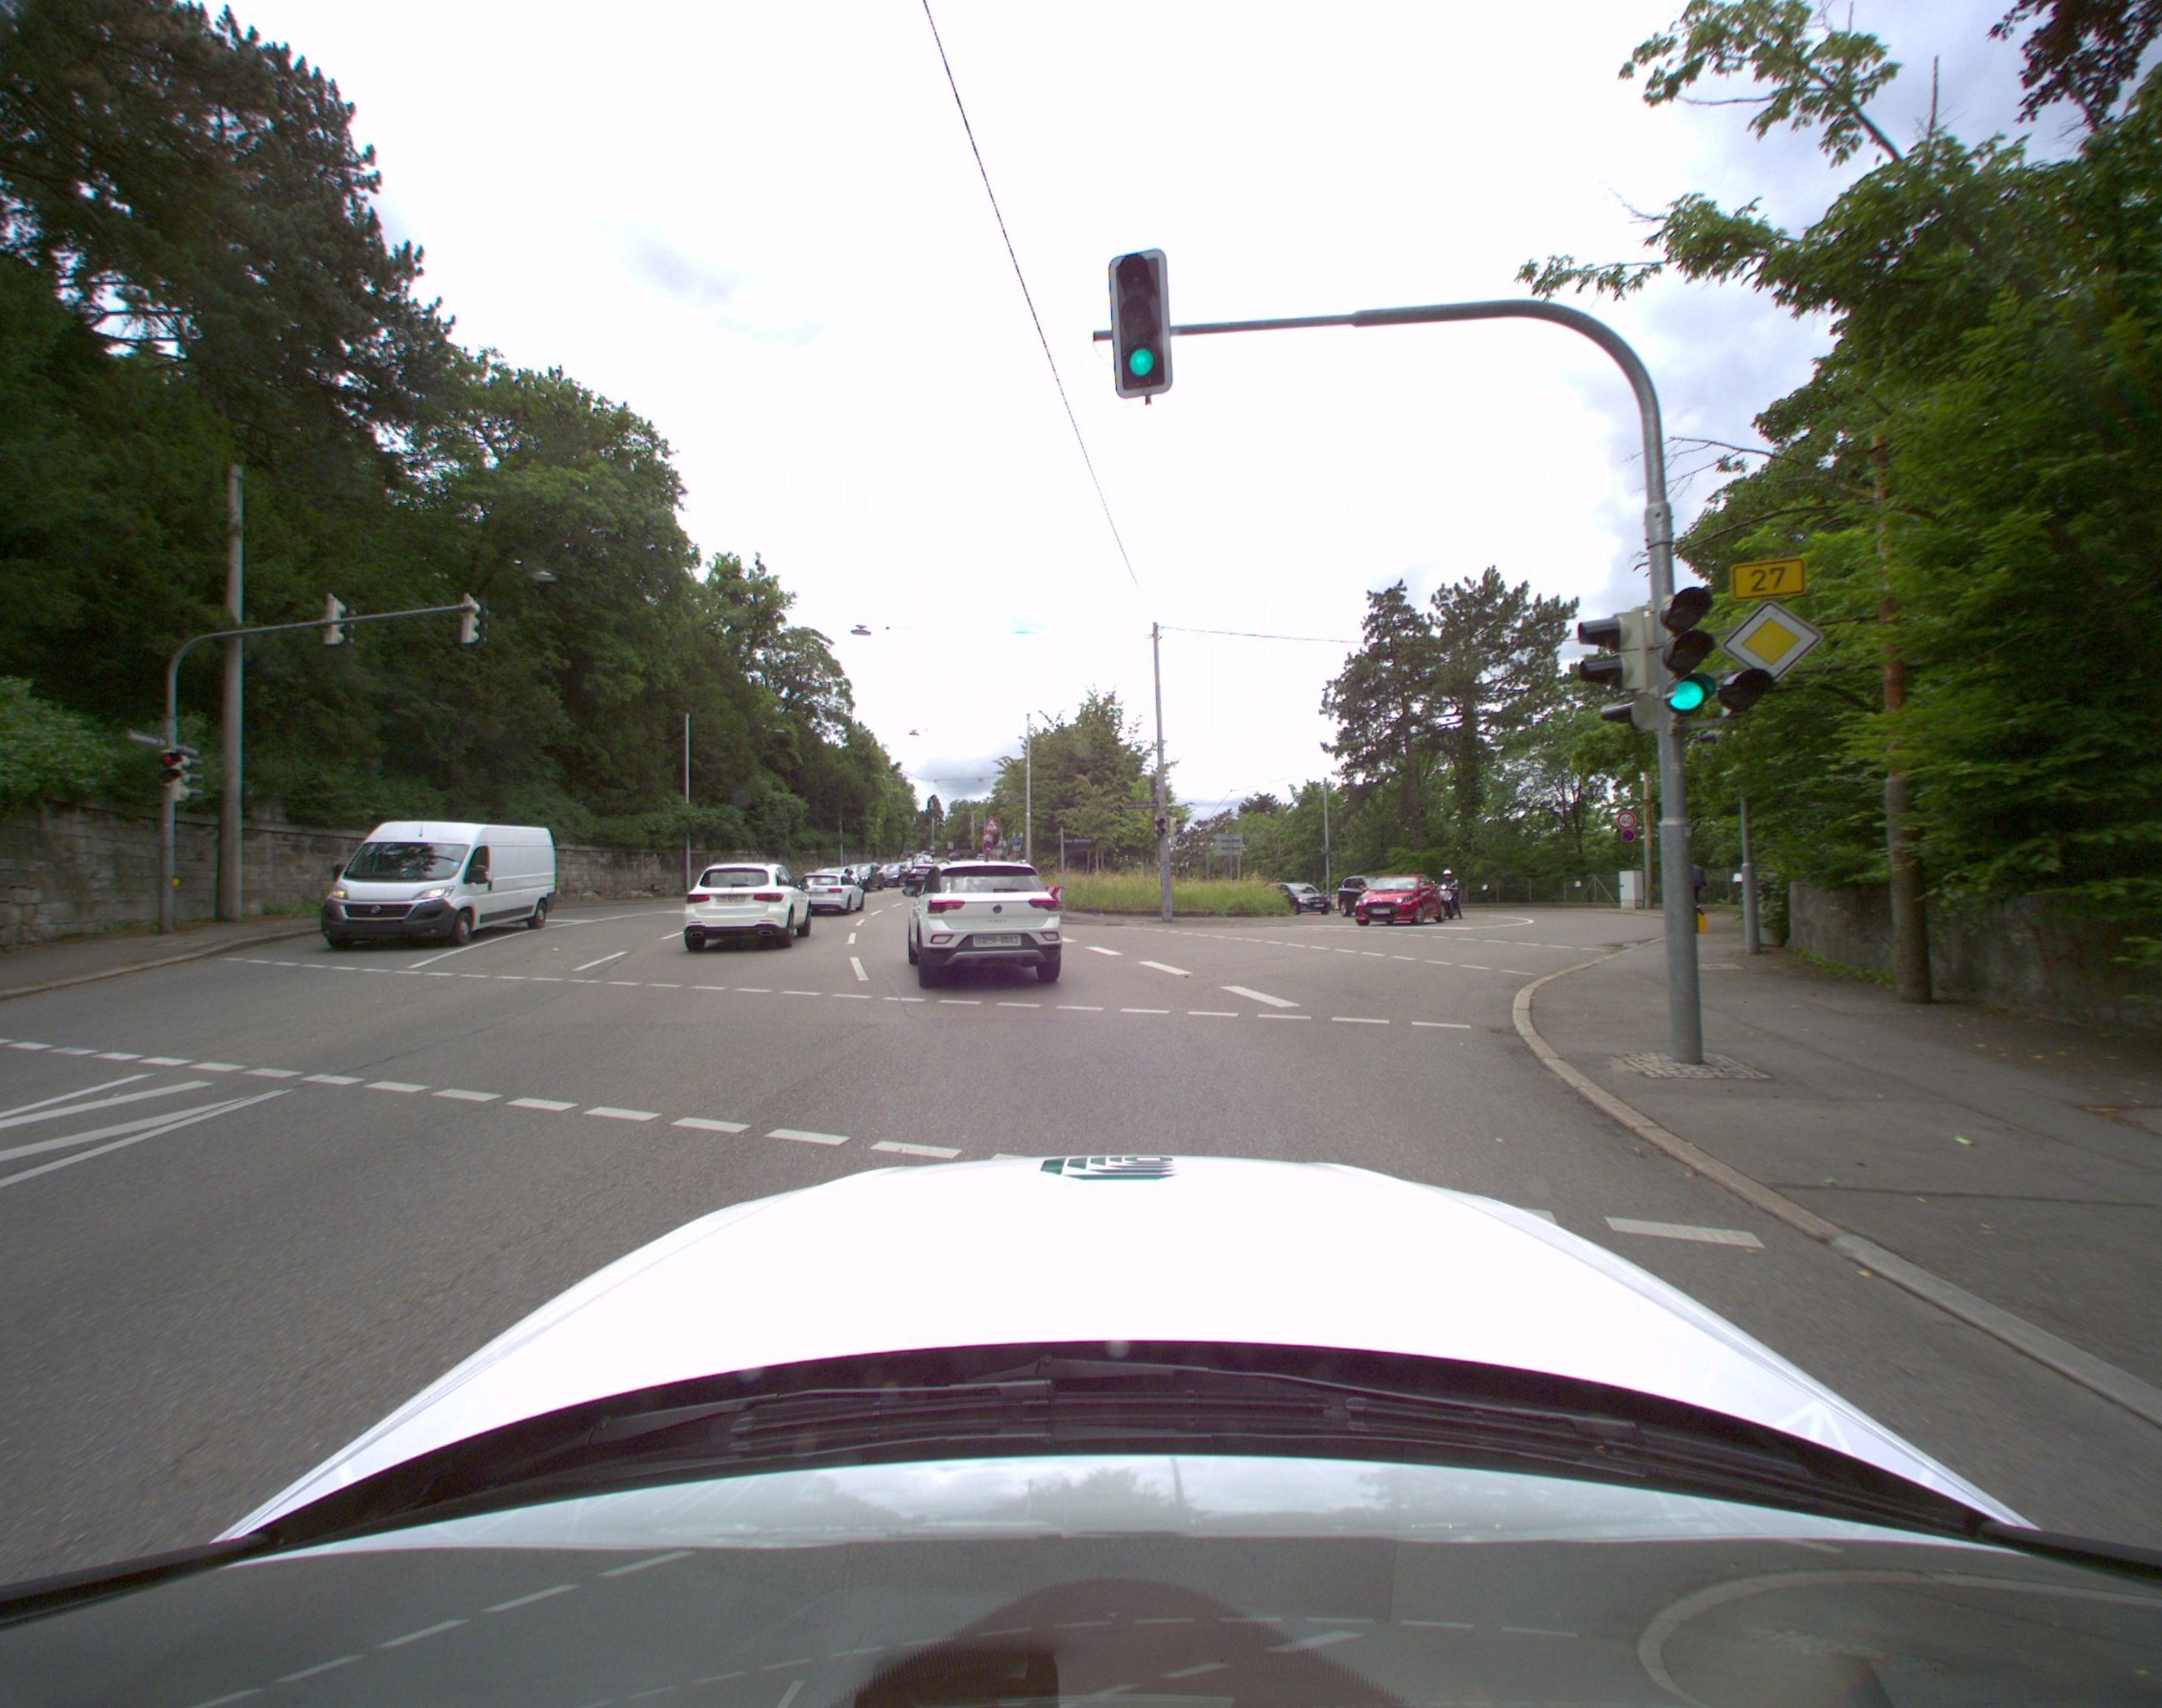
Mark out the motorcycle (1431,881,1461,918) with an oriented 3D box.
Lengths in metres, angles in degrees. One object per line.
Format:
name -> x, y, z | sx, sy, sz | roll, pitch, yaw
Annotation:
motorcycle -> 12.250, 1.524, 27.314 | 0.593, 1.152, 1.591 | -4, -2, 34

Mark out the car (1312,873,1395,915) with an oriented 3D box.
car -> 11.642, 1.747, 35.132 | 1.809, 1.677, 4.673 | -1, -3, -2

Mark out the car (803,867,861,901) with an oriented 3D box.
car -> -13.058, 1.527, 42.919 | 1.990, 1.637, 4.389 | 1, -1, -5

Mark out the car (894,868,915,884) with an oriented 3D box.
car -> -17.757, 2.221, 82.010 | 1.649, 1.518, 3.840 | 1, -2, -7

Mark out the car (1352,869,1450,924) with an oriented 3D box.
car -> 9.436, 1.233, 23.834 | 1.651, 1.468, 3.980 | -4, -4, 36

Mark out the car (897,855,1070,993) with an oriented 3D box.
car -> -1.594, 0.833, 11.679 | 1.758, 1.553, 4.313 | -1, -1, -16

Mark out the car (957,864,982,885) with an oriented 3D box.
car -> -8.262, 1.509, 60.355 | 1.682, 1.424, 3.701 | -1, 0, -6

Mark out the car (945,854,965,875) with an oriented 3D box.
car -> -11.218, 0.931, 72.531 | 1.634, 1.820, 3.986 | -2, 0, -10

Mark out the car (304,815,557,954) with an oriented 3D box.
car -> -13.290, 0.573, 17.249 | 1.997, 2.413, 5.865 | 0, -1, -15

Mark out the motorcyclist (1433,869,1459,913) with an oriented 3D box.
motorcyclist -> 12.226, 1.245, 27.297 | 0.593, 1.430, 0.762 | -4, -3, 34

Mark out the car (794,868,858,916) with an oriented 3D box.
car -> -8.947, 1.295, 28.886 | 1.867, 1.534, 4.753 | 0, -1, -14

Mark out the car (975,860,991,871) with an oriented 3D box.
car -> -13.200, 1.486, 109.342 | 1.650, 1.451, 3.527 | 0, 0, -15

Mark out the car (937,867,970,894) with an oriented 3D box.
car -> -7.168, 1.481, 45.952 | 1.626, 1.420, 3.846 | 1, -1, -6

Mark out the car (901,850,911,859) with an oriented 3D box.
car -> -39.207, 0.135, 182.509 | 1.755, 1.786, 3.972 | -1, 0, -21

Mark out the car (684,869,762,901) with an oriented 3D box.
car -> -16.870, 1.429, 38.605 | 1.631, 1.406, 4.068 | 1, -1, 4

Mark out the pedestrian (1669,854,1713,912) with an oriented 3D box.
pedestrian -> 17.964, 0.860, 23.993 | 0.664, 1.630, 0.687 | -6, -4, 13

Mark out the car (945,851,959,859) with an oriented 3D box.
car -> -22.795, 0.228, 143.831 | 1.654, 1.451, 3.517 | 0, 0, -24

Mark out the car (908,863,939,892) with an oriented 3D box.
car -> -9.843, 1.440, 51.118 | 1.787, 1.636, 3.725 | 1, 1, -9

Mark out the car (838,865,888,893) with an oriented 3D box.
car -> -13.437, 1.515, 50.534 | 1.888, 1.567, 4.477 | 1, -1, -1

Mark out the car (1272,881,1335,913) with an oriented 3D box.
car -> 11.009, 2.152, 40.624 | 1.714, 1.486, 3.991 | -1, -3, -5

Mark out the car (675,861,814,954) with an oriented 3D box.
car -> -6.711, 0.988, 16.752 | 1.861, 1.606, 4.650 | -1, -1, -13

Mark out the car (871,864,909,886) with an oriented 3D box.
car -> -13.341, 1.457, 57.109 | 1.813, 1.440, 4.058 | 0, 0, -3

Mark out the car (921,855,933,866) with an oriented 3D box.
car -> -21.684, 0.857, 114.712 | 1.647, 1.450, 3.534 | 0, 1, -10
